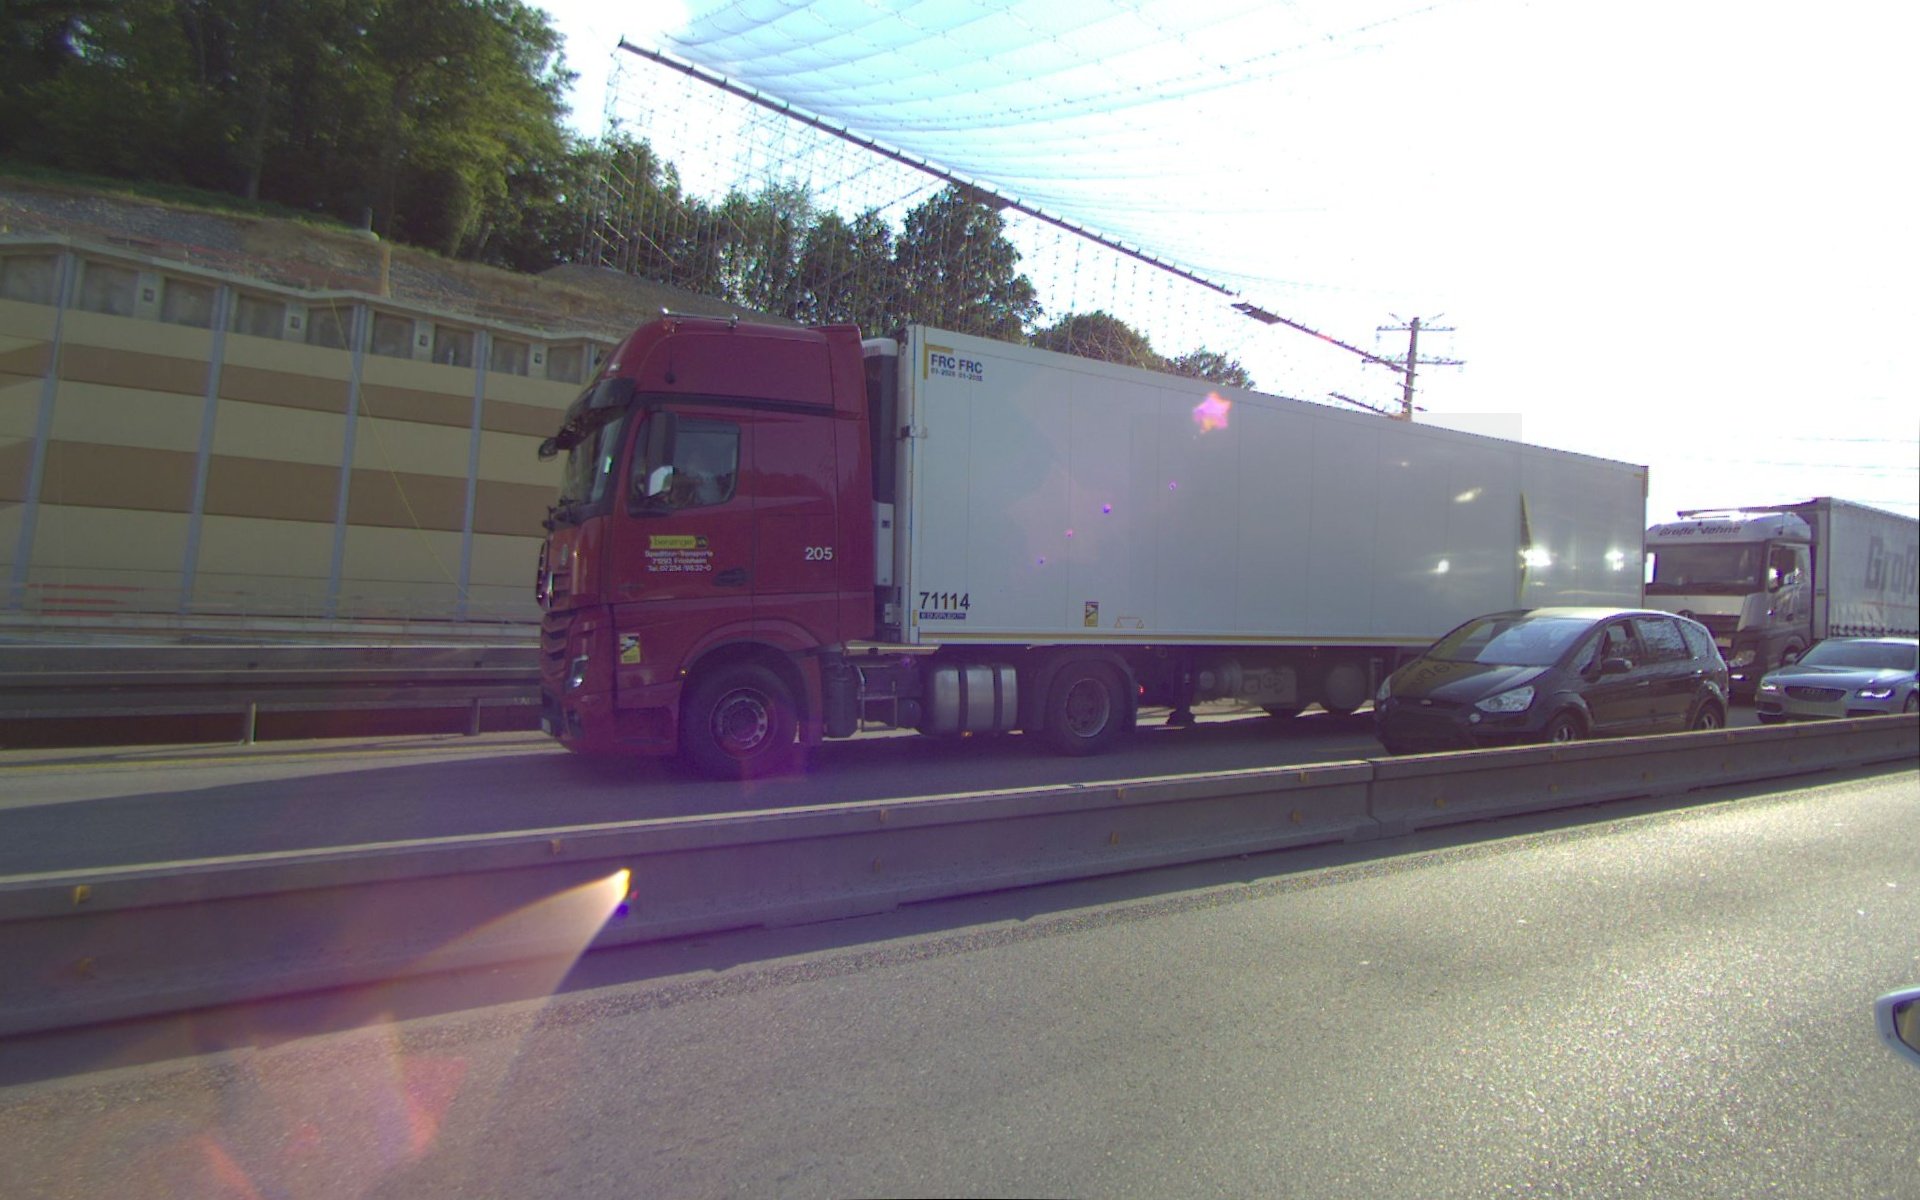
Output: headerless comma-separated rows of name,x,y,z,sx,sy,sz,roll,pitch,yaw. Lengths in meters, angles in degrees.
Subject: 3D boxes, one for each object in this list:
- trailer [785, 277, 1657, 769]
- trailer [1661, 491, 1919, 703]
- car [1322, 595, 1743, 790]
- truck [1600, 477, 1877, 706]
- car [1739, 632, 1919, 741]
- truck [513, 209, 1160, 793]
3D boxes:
trailer,4.625,-0.478,13.745,13.724,4.391,2.751,2,-1,-32
trailer,22.112,0.146,24.774,13.814,4.196,2.783,2,-1,-33
car,6.176,0.860,10.667,4.806,1.679,1.743,2,-1,-31
truck,16.440,-0.064,21.144,5.869,4.196,2.772,2,-1,-32
car,14.369,1.280,15.807,4.836,1.396,1.722,2,1,-32
truck,-1.130,-0.651,10.205,5.867,4.357,2.731,2,-1,-31
